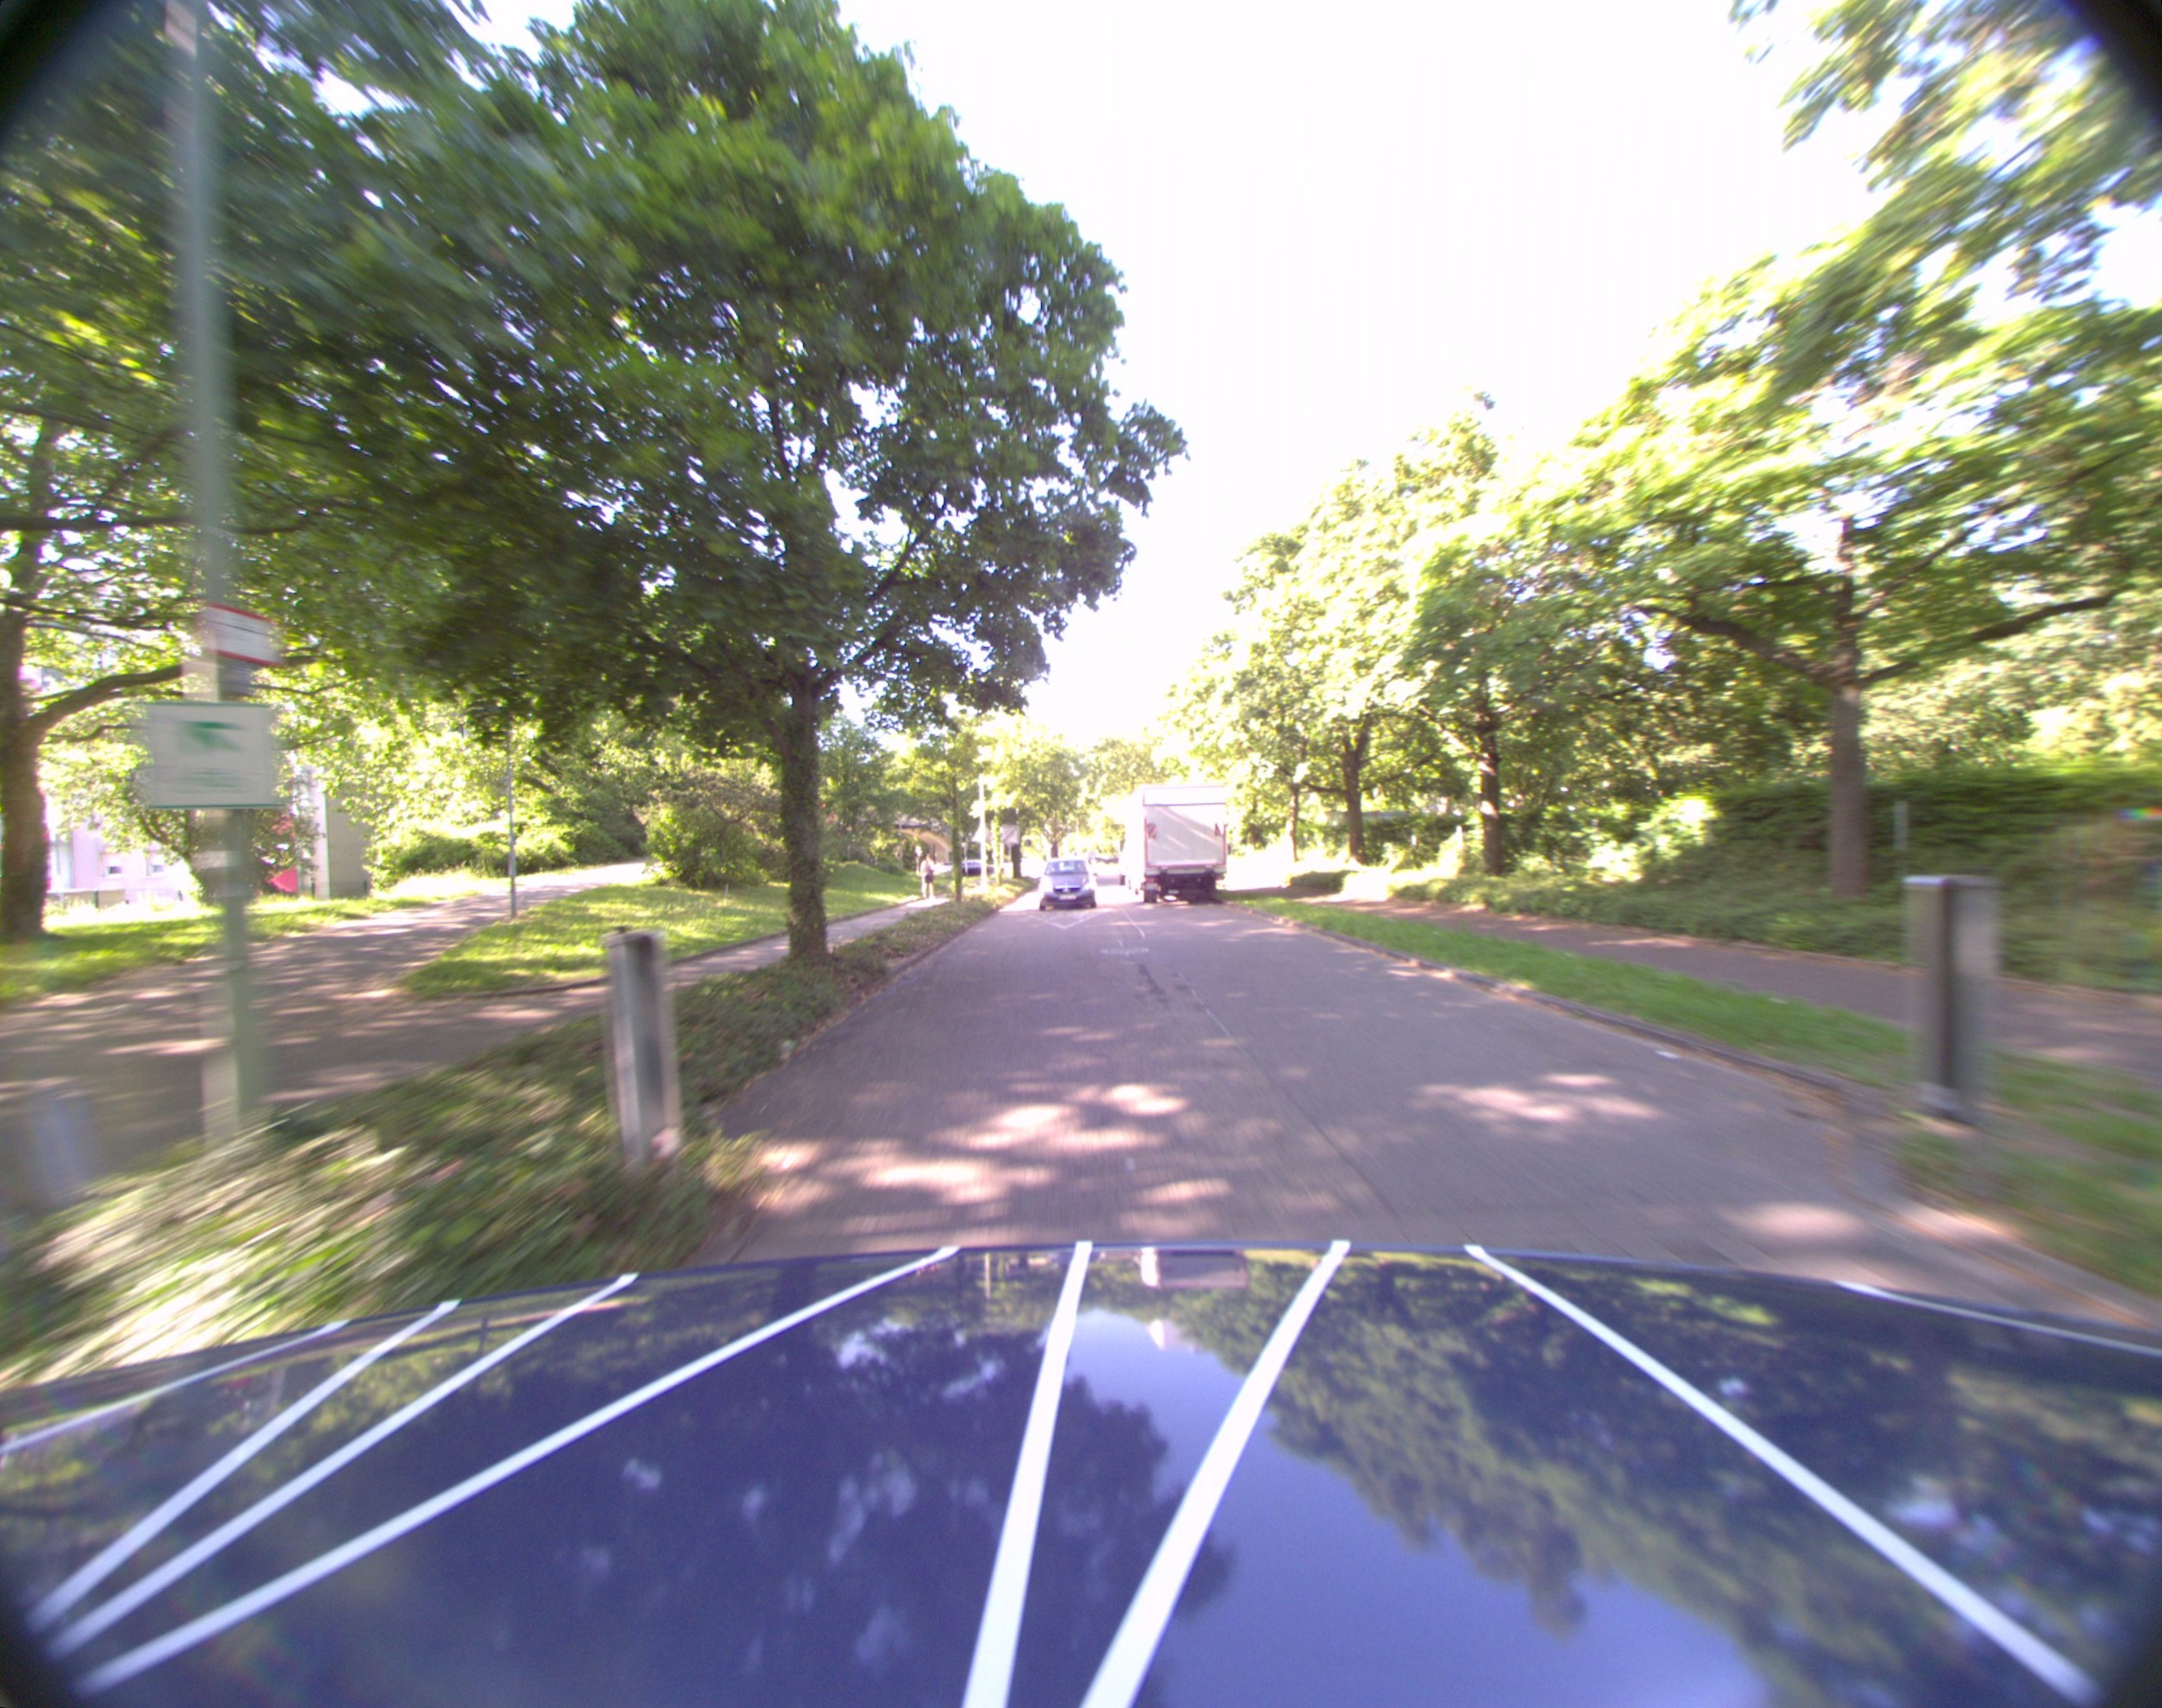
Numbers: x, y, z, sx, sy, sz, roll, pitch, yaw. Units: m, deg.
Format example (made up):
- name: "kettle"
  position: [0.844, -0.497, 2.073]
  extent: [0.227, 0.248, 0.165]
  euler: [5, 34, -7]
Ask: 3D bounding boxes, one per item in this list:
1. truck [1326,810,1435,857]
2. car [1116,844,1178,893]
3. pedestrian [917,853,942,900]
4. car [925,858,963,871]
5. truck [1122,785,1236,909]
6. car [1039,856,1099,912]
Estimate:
- name: "truck"
  position: [13.451, -0.883, 34.319]
  extent: [3.998, 2.002, 2.203]
  euler: [-1, 0, -3]
- name: "car"
  position: [3.062, 0.645, 36.708]
  extent: [2.125, 2.083, 6.583]
  euler: [-2, 0, -2]
- name: "pedestrian"
  position: [-5.981, 0.876, 30.002]
  extent: [0.793, 1.821, 0.671]
  euler: [-2, 1, 0]
- name: "car"
  position: [-15.945, 1.266, 88.645]
  extent: [4.062, 1.213, 1.620]
  euler: [-4, 1, 5]
- name: "truck"
  position: [3.173, -0.199, 26.871]
  extent: [2.741, 3.620, 8.100]
  euler: [-2, 0, -1]
- name: "car"
  position: [-0.385, 0.892, 24.632]
  extent: [1.734, 1.578, 3.999]
  euler: [-2, 0, -1]
